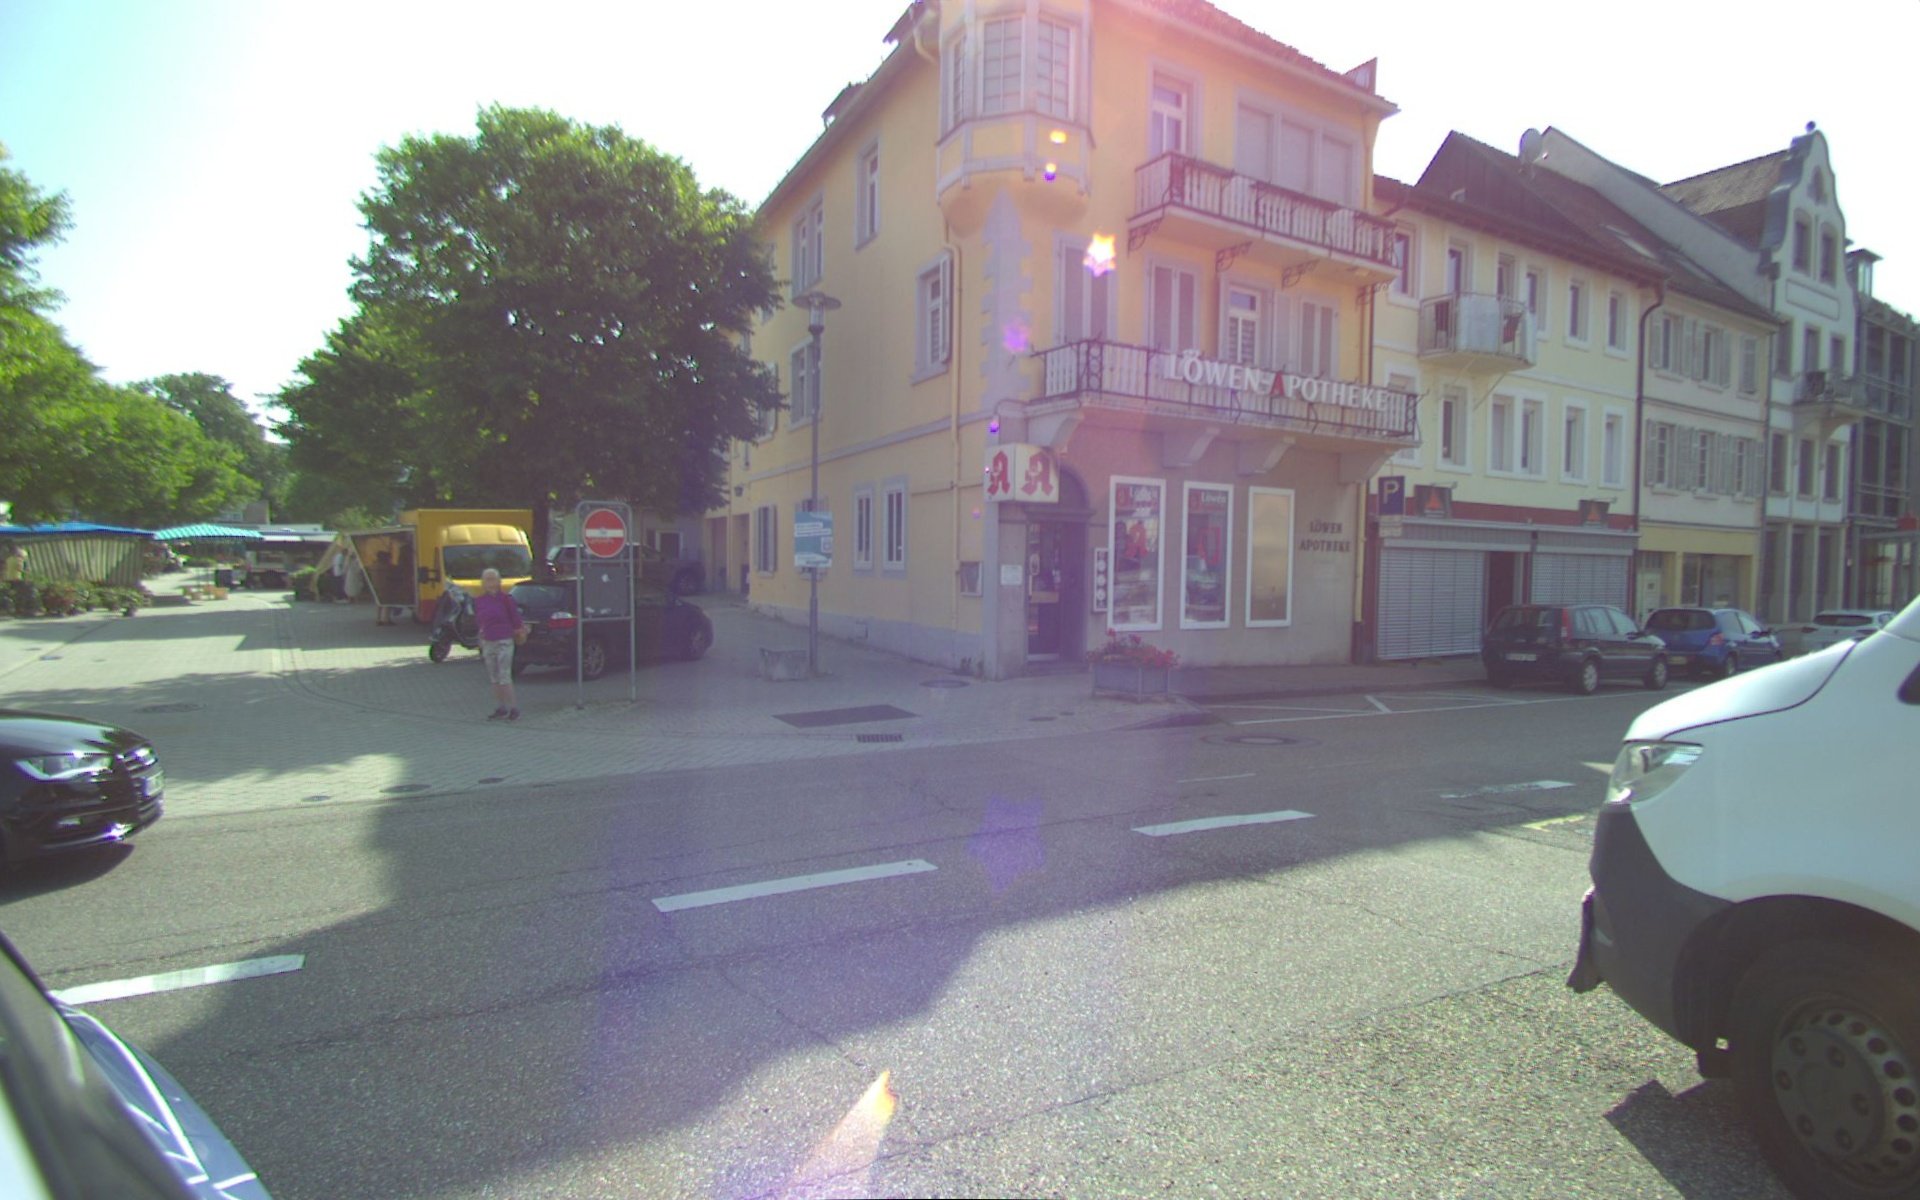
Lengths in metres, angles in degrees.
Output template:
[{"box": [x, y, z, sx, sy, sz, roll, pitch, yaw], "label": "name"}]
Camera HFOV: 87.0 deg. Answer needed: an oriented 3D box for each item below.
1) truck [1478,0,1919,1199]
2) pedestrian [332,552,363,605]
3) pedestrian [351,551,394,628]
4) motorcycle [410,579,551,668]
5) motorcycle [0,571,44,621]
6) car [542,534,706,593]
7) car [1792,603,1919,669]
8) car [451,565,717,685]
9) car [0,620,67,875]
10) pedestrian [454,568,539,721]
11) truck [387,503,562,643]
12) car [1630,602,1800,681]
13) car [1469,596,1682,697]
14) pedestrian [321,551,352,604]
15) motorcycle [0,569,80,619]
[{"box": [3.782, -0.004, 0.126, 2.075, 2.719, 7.156, 0, 0, -19], "label": "truck"}, {"box": [-19.931, -0.713, 32.951, 0.583, 1.694, 0.672, 3, 5, 42], "label": "pedestrian"}, {"box": [-14.157, -0.263, 24.380, 0.671, 1.799, 0.727, -4, 5, -43], "label": "pedestrian"}, {"box": [-8.252, 0.360, 17.448, 2.053, 1.371, 0.891, -3, 3, -33], "label": "motorcycle"}, {"box": [-24.492, -0.126, 25.507, 1.971, 1.204, 0.645, 3, 0, -17], "label": "motorcycle"}, {"box": [-11.470, -1.201, 34.700, 4.989, 1.905, 2.005, 0, 1, -35], "label": "car"}, {"box": [22.469, 0.835, 25.088, 3.730, 1.458, 1.758, 0, 1, -33], "label": "car"}, {"box": [-5.787, 0.271, 16.126, 1.909, 1.554, 3.934, 1, 3, 20], "label": "car"}, {"box": [-7.185, 0.860, 4.763, 4.127, 1.366, 1.762, -1, 1, -26], "label": "car"}, {"box": [-5.387, 0.493, 11.788, 0.671, 1.727, 0.616, 0, 2, 5], "label": "pedestrian"}, {"box": [-12.057, -0.771, 24.591, 2.959, 2.778, 8.889, -1, 3, -31], "label": "truck"}, {"box": [15.507, 0.791, 20.775, 3.221, 1.458, 1.758, 0, 1, -33], "label": "car"}, {"box": [10.920, 0.737, 17.925, 3.507, 1.580, 1.858, 0, 1, -33], "label": "car"}, {"box": [-20.521, -0.751, 33.303, 0.583, 1.694, 0.672, 0, 3, 43], "label": "pedestrian"}, {"box": [-24.312, -0.156, 26.633, 1.984, 1.204, 0.641, 3, 0, 11], "label": "motorcycle"}]
